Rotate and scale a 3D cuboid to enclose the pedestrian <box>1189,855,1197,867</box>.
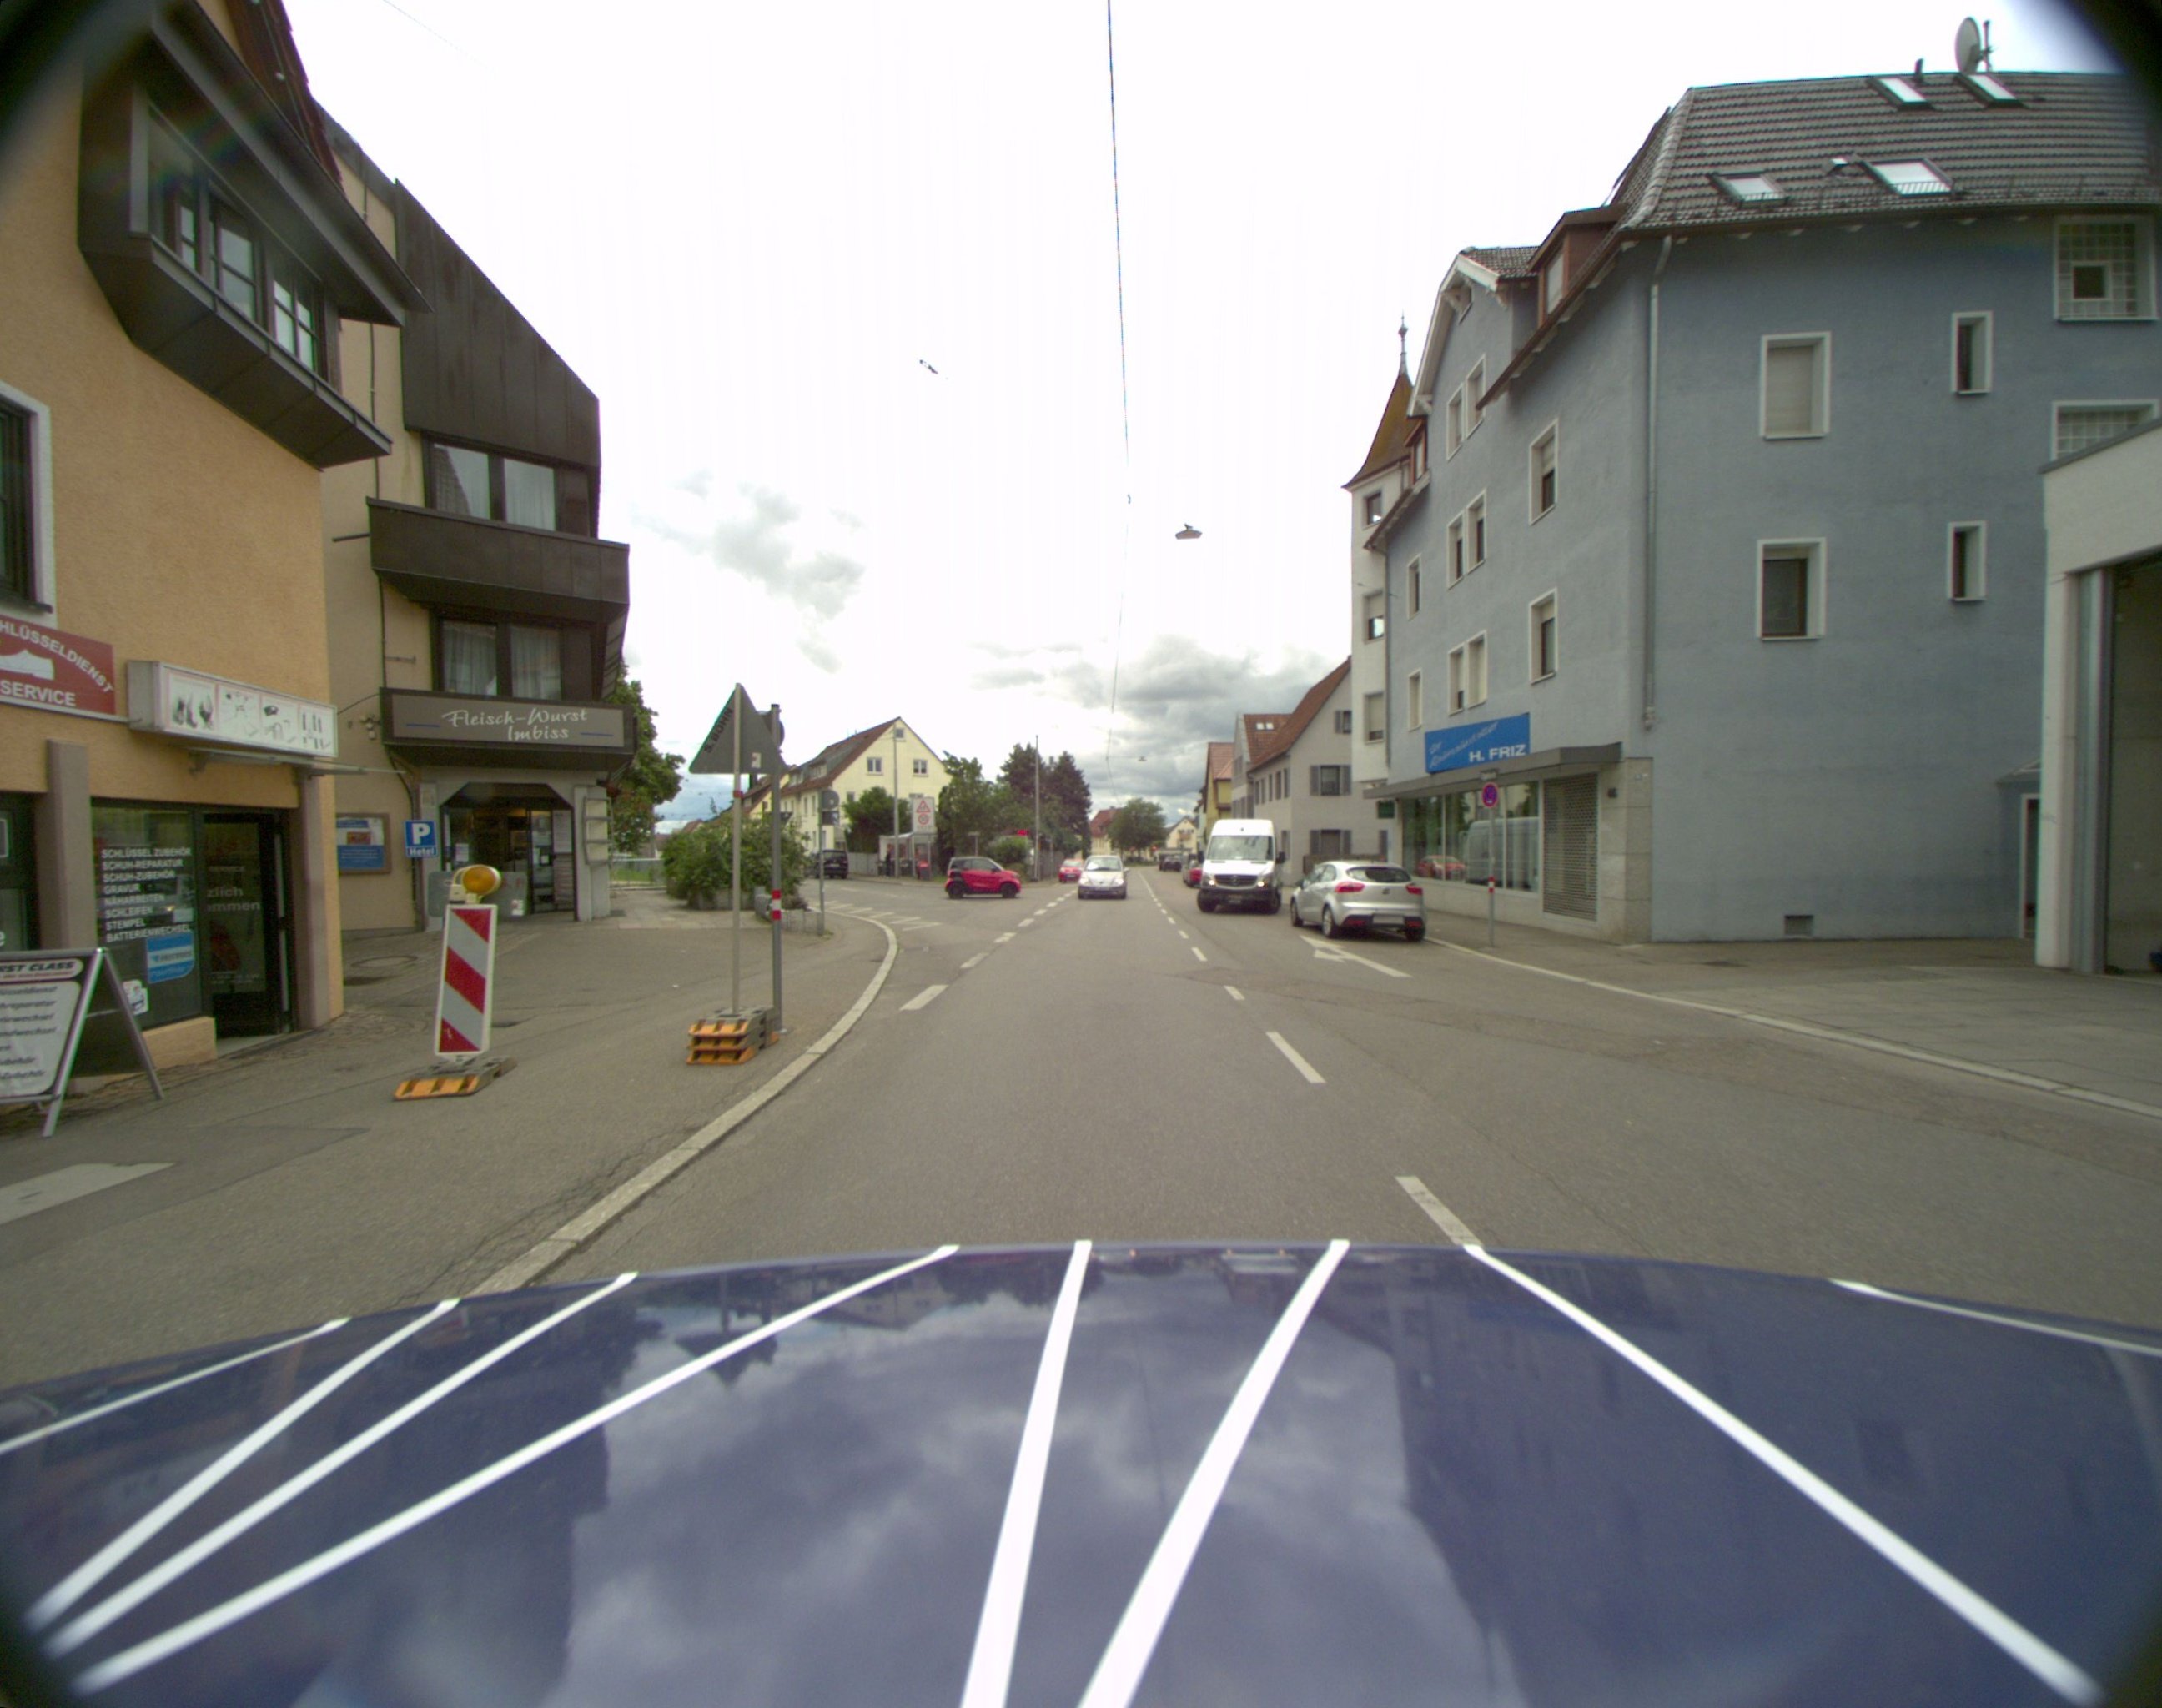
[{"bbox_3d":[12.018,0.764,81.840,0.832,1.368,0.551,0,1,5],"label":"pedestrian"}]

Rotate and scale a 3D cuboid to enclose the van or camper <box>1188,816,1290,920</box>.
[{"bbox_3d":[4.800,0.359,22.240,2.322,2.592,6.216,0,0,17],"label":"van or camper"}]

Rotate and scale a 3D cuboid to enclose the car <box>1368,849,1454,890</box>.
[{"bbox_3d":[13.804,0.615,32.084,1.998,1.543,4.417,-2,0,5],"label":"car"}]

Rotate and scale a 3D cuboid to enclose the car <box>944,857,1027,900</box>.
[{"bbox_3d":[-3.553,0.864,28.175,2.939,1.511,1.819,0,0,-8],"label":"car"}]

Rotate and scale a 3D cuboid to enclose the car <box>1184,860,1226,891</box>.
[{"bbox_3d":[6.474,1.080,40.094,1.863,1.465,4.354,2,0,5],"label":"car"}]

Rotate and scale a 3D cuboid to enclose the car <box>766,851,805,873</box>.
[{"bbox_3d":[-23.553,0.598,60.386,2.004,1.663,4.382,0,0,-34],"label":"car"}]

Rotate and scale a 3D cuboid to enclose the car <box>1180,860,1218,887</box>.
[{"bbox_3d":[7.045,1.148,45.816,1.781,1.465,4.353,2,0,3],"label":"car"}]

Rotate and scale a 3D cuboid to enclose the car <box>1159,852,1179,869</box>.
[{"bbox_3d":[10.060,0.757,87.092,2.111,1.838,4.353,0,0,3],"label":"car"}]

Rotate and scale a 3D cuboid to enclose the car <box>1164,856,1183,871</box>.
[{"bbox_3d":[9.737,0.985,80.279,1.717,1.559,4.353,0,0,3],"label":"car"}]

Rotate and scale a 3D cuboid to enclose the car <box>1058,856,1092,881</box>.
[{"bbox_3d":[-0.315,0.848,47.306,1.718,1.472,4.001,0,0,5],"label":"car"}]

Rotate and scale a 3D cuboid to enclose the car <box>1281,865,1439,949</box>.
[{"bbox_3d":[5.361,0.948,15.170,1.802,1.403,4.001,0,0,2],"label":"car"}]

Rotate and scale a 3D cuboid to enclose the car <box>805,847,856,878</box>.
[{"bbox_3d":[-15.966,0.526,48.362,2.004,1.866,4.382,0,0,-34],"label":"car"}]

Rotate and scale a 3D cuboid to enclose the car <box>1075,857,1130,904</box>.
[{"bbox_3d":[0.867,0.904,27.830,1.857,1.547,4.353,0,0,3],"label":"car"}]
